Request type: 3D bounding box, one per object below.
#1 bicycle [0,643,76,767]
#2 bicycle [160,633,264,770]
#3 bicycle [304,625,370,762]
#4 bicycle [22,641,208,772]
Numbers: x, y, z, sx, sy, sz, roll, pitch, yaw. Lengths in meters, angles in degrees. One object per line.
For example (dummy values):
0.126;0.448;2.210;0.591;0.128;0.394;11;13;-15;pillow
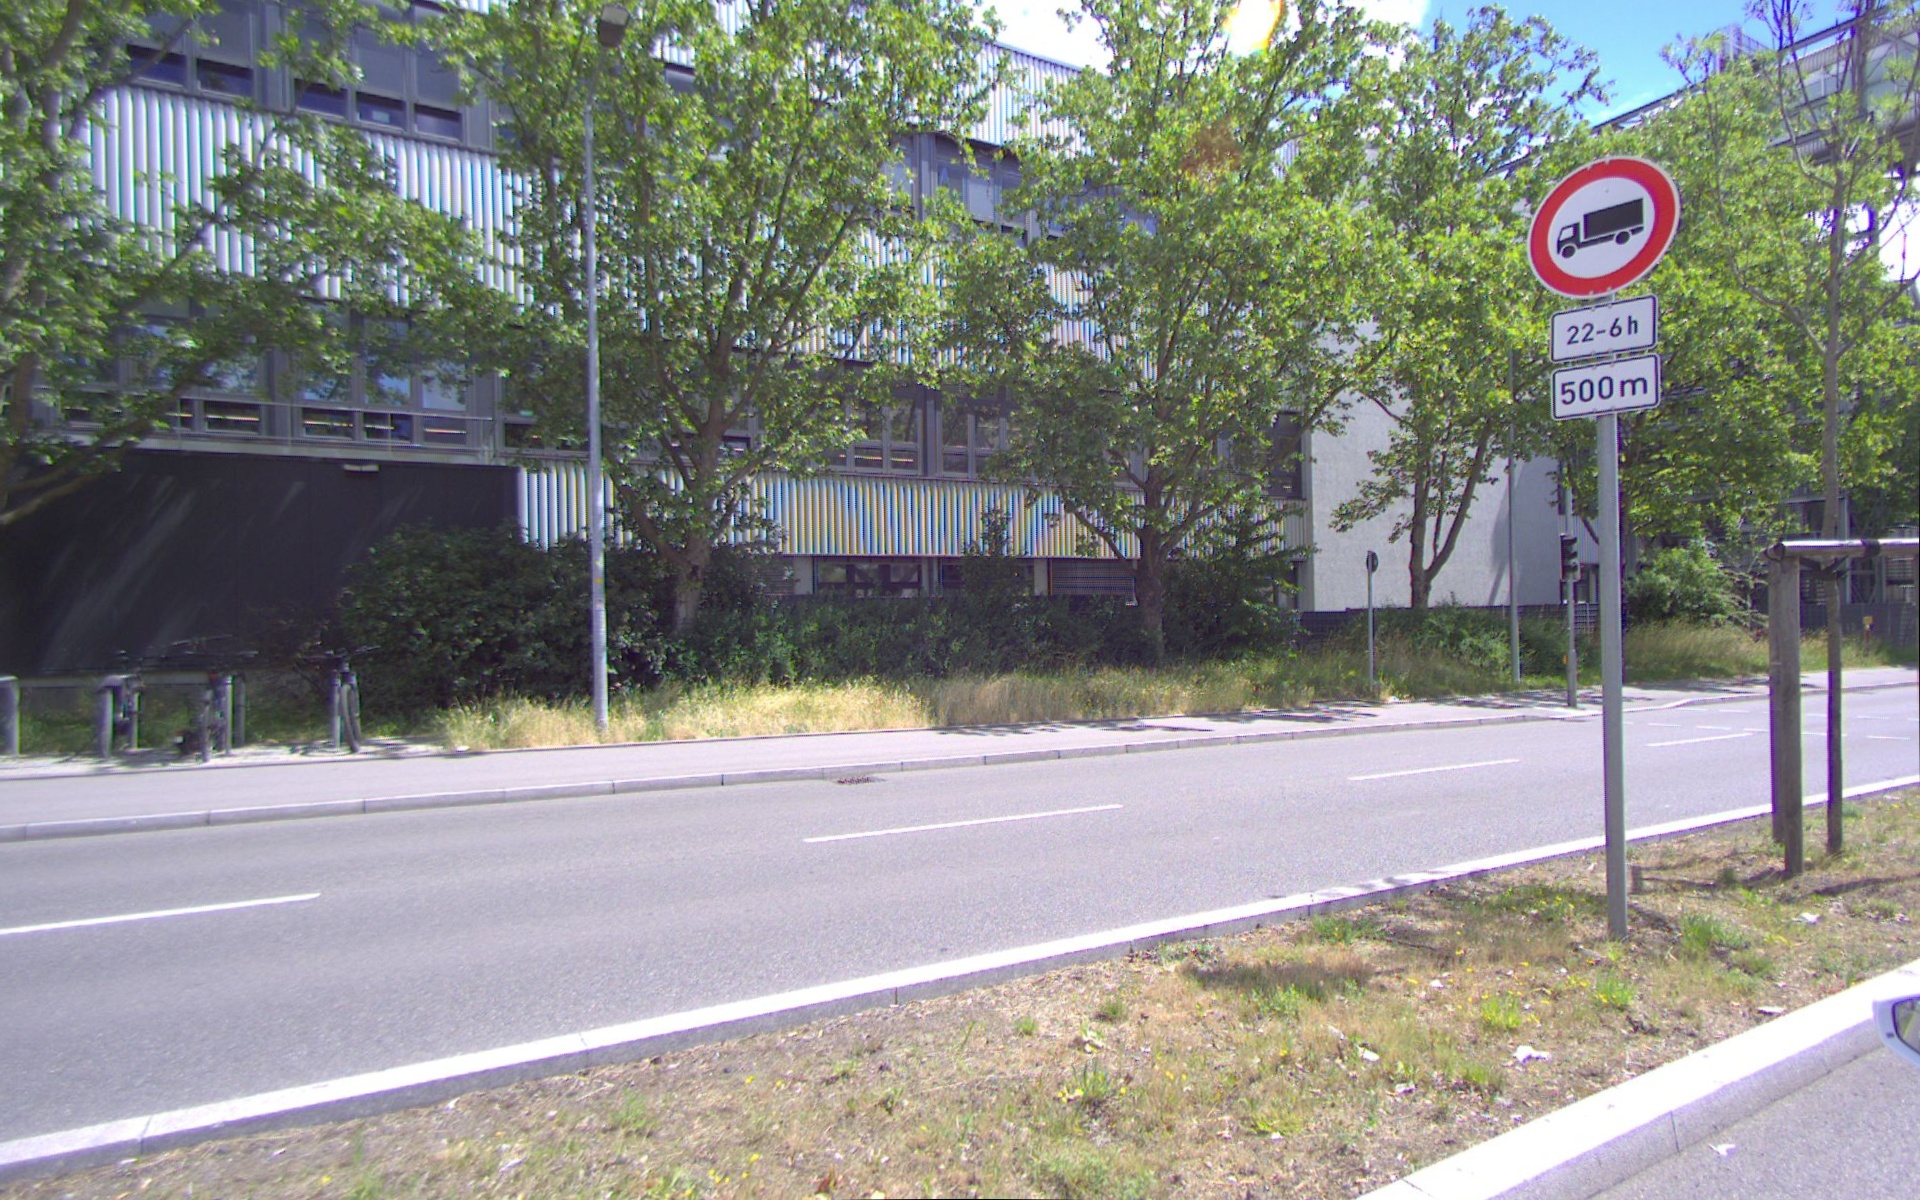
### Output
-9.953;1.075;10.152;0.634;1.173;2.561;1;0;-20;bicycle
-8.141;1.032;11.011;0.549;1.274;2.394;1;0;-28;bicycle
-7.120;1.002;11.536;0.483;1.382;2.158;1;0;-28;bicycle
-9.214;1.093;11.099;0.715;1.173;2.561;1;0;-20;bicycle
